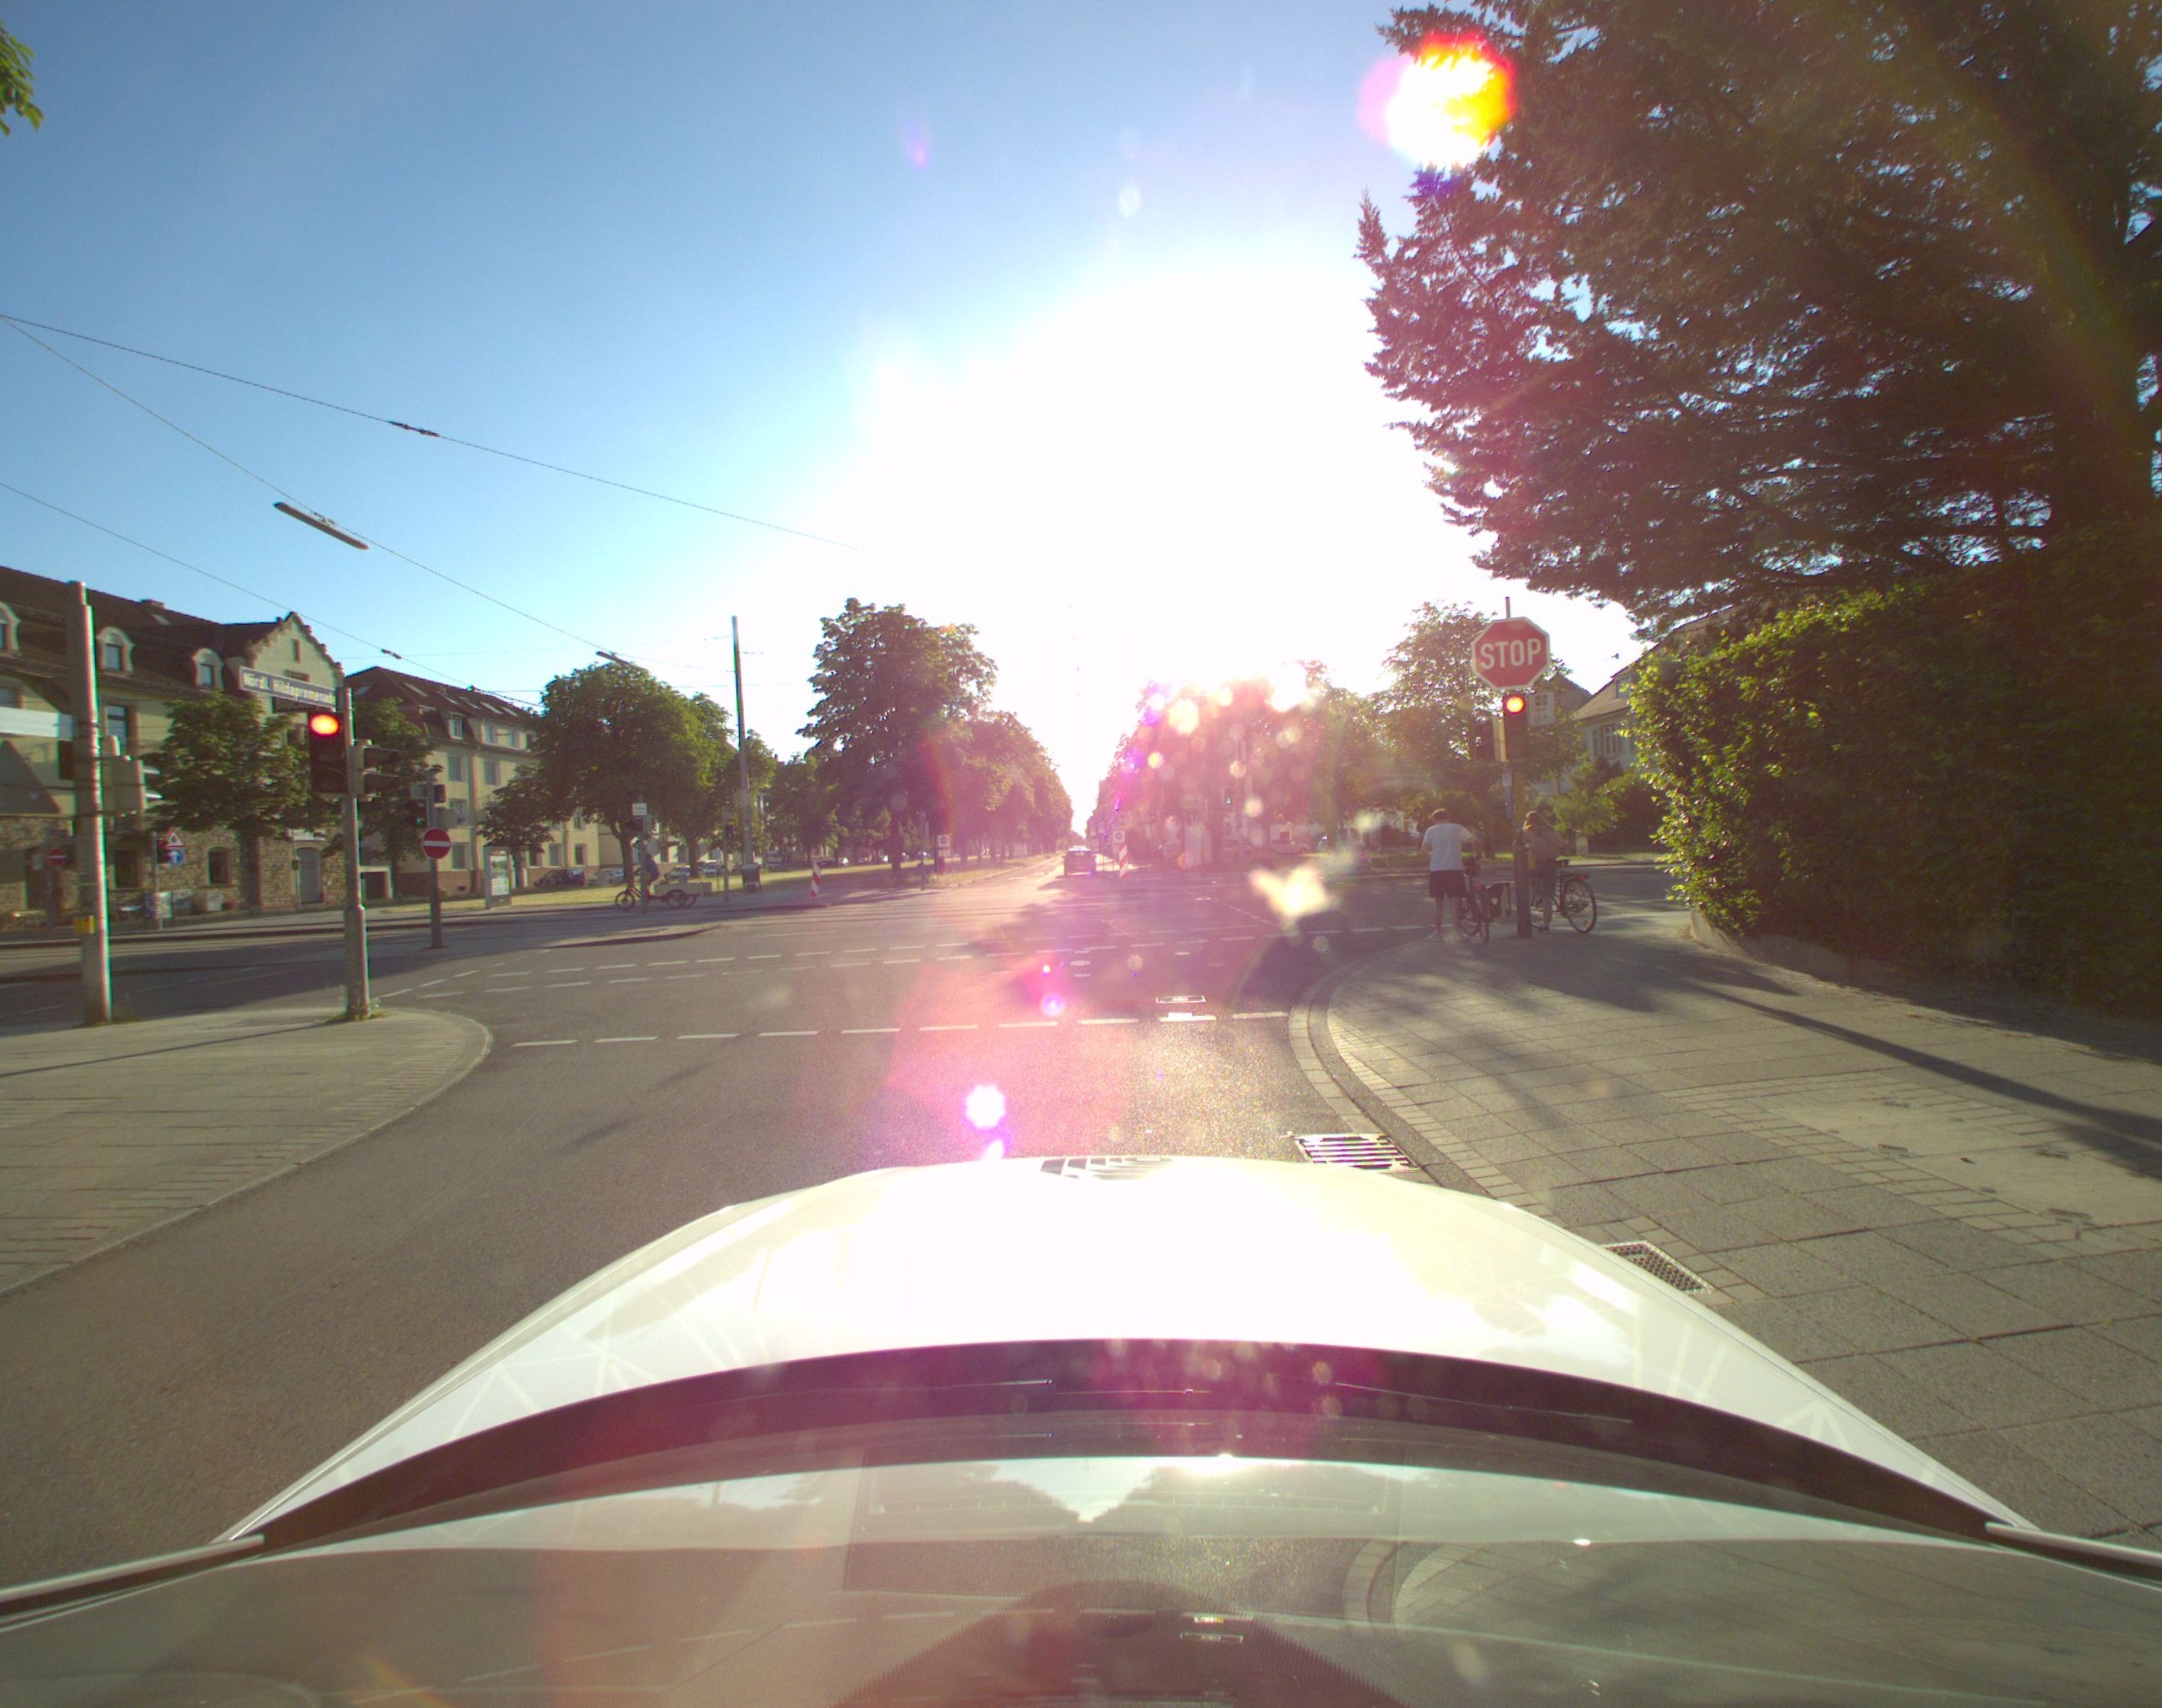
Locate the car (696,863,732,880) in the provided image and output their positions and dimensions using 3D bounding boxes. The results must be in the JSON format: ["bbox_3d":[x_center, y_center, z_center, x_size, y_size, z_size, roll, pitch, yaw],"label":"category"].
[{"bbox_3d":[-37.224,1.762,82.701,1.791,1.554,4.417,0,1,-2],"label":"car"}]

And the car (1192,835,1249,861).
[{"bbox_3d":[11.169,-0.472,65.402,4.228,1.875,2.030,-2,-1,-1],"label":"car"}]

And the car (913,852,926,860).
[{"bbox_3d":[-37.191,0.383,188.062,1.987,1.658,4.570,-2,0,0],"label":"car"}]

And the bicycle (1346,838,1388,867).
[{"bbox_3d":[11.508,-0.072,32.814,1.513,1.089,0.469,-2,4,9],"label":"bicycle"}]

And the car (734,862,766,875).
[{"bbox_3d":[-42.177,1.822,103.906,1.986,1.659,4.572,0,-1,2],"label":"car"}]

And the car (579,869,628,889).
[{"bbox_3d":[-42.986,2.212,73.396,1.986,1.659,4.001,0,-1,2],"label":"car"}]

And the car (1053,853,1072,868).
[{"bbox_3d":[-1.735,0.618,78.596,1.704,1.359,4.202,0,0,0],"label":"car"}]

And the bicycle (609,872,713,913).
[{"bbox_3d":[-14.146,1.288,27.456,3.059,1.161,0.876,-3,-1,4],"label":"bicycle"}]

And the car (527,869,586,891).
[{"bbox_3d":[-43.196,2.095,67.222,1.986,1.736,4.313,0,-1,2],"label":"car"}]

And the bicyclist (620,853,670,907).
[{"bbox_3d":[-14.720,0.870,27.524,1.139,1.723,0.876,-3,-1,4],"label":"bicyclist"}]

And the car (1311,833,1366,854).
[{"bbox_3d":[20.764,-0.856,65.668,3.915,1.524,1.521,-1,-1,-5],"label":"car"}]

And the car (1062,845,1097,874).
[{"bbox_3d":[-0.037,0.285,44.709,1.719,1.511,4.542,0,0,2],"label":"car"}]

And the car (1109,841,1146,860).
[{"bbox_3d":[5.376,-0.431,93.600,3.980,1.822,1.757,-3,-5,-5],"label":"car"}]

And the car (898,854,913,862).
[{"bbox_3d":[-36.321,0.918,168.662,2.016,1.659,3.984,0,-1,1],"label":"car"}]

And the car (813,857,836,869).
[{"bbox_3d":[-37.110,1.297,117.723,1.873,1.674,4.315,0,0,1],"label":"car"}]

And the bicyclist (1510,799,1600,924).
[{"bbox_3d":[6.186,0.096,10.673,0.708,1.562,0.895,0,-1,6],"label":"bicyclist"}]

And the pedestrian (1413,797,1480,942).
[{"bbox_3d":[4.985,0.204,11.157,0.622,1.866,0.778,-6,-1,20],"label":"pedestrian"}]

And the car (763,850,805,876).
[{"bbox_3d":[-37.164,1.084,102.216,2.384,3.131,7.853,0,0,0],"label":"car"}]

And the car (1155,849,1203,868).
[{"bbox_3d":[8.469,0.368,70.593,3.975,1.447,1.715,-2,-1,-1],"label":"car"}]

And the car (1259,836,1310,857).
[{"bbox_3d":[16.251,-0.603,65.098,3.548,1.516,1.602,-2,0,-6],"label":"car"}]

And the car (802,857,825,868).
[{"bbox_3d":[-41.970,1.324,127.930,1.986,1.659,4.376,0,-1,2],"label":"car"}]

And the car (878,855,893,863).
[{"bbox_3d":[-41.722,0.982,173.893,1.986,1.659,4.357,0,-1,2],"label":"car"}]

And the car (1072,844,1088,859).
[{"bbox_3d":[-0.204,-0.355,103.939,1.987,1.781,3.999,0,1,-1],"label":"car"}]

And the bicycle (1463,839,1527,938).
[{"bbox_3d":[5.392,0.393,10.689,0.567,1.184,1.916,-1,1,21],"label":"bicycle"}]

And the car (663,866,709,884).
[{"bbox_3d":[-37.444,1.952,77.292,1.986,1.659,4.572,0,-1,2],"label":"car"}]

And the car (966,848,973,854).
[{"bbox_3d":[-34.924,-0.954,255.153,1.649,1.938,3.566,0,-2,-1],"label":"car"}]

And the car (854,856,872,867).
[{"bbox_3d":[-36.918,1.309,137.912,1.805,1.781,4.123,0,-1,1],"label":"car"}]
